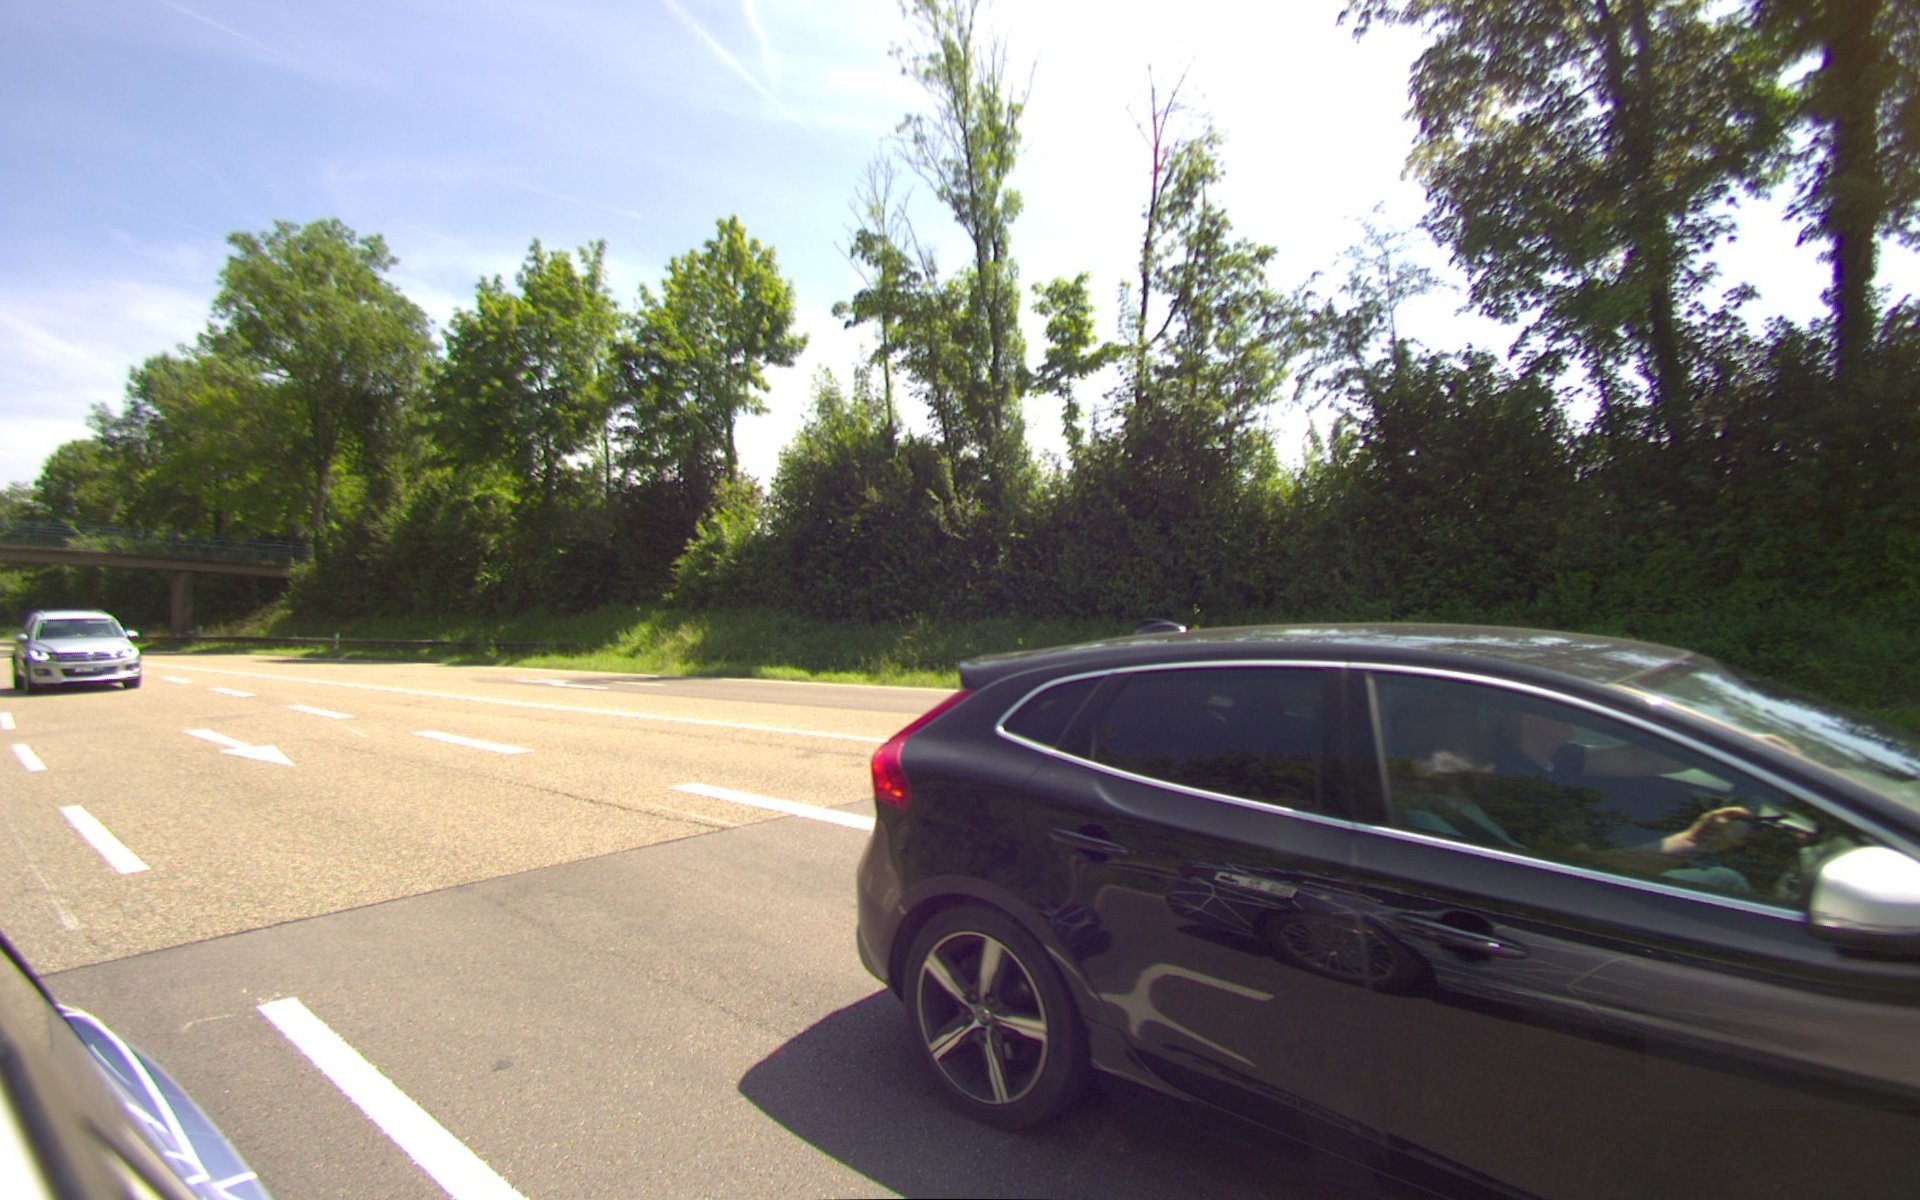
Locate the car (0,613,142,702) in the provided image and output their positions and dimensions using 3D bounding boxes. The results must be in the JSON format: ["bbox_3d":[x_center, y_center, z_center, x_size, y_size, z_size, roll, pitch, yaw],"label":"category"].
[{"bbox_3d":[-19.087,1.170,21.630,4.289,1.682,1.786,-2,0,41],"label":"car"}]

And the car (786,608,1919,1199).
[{"bbox_3d":[1.636,0.728,2.501,4.400,1.409,1.668,-1,-1,41],"label":"car"}]
